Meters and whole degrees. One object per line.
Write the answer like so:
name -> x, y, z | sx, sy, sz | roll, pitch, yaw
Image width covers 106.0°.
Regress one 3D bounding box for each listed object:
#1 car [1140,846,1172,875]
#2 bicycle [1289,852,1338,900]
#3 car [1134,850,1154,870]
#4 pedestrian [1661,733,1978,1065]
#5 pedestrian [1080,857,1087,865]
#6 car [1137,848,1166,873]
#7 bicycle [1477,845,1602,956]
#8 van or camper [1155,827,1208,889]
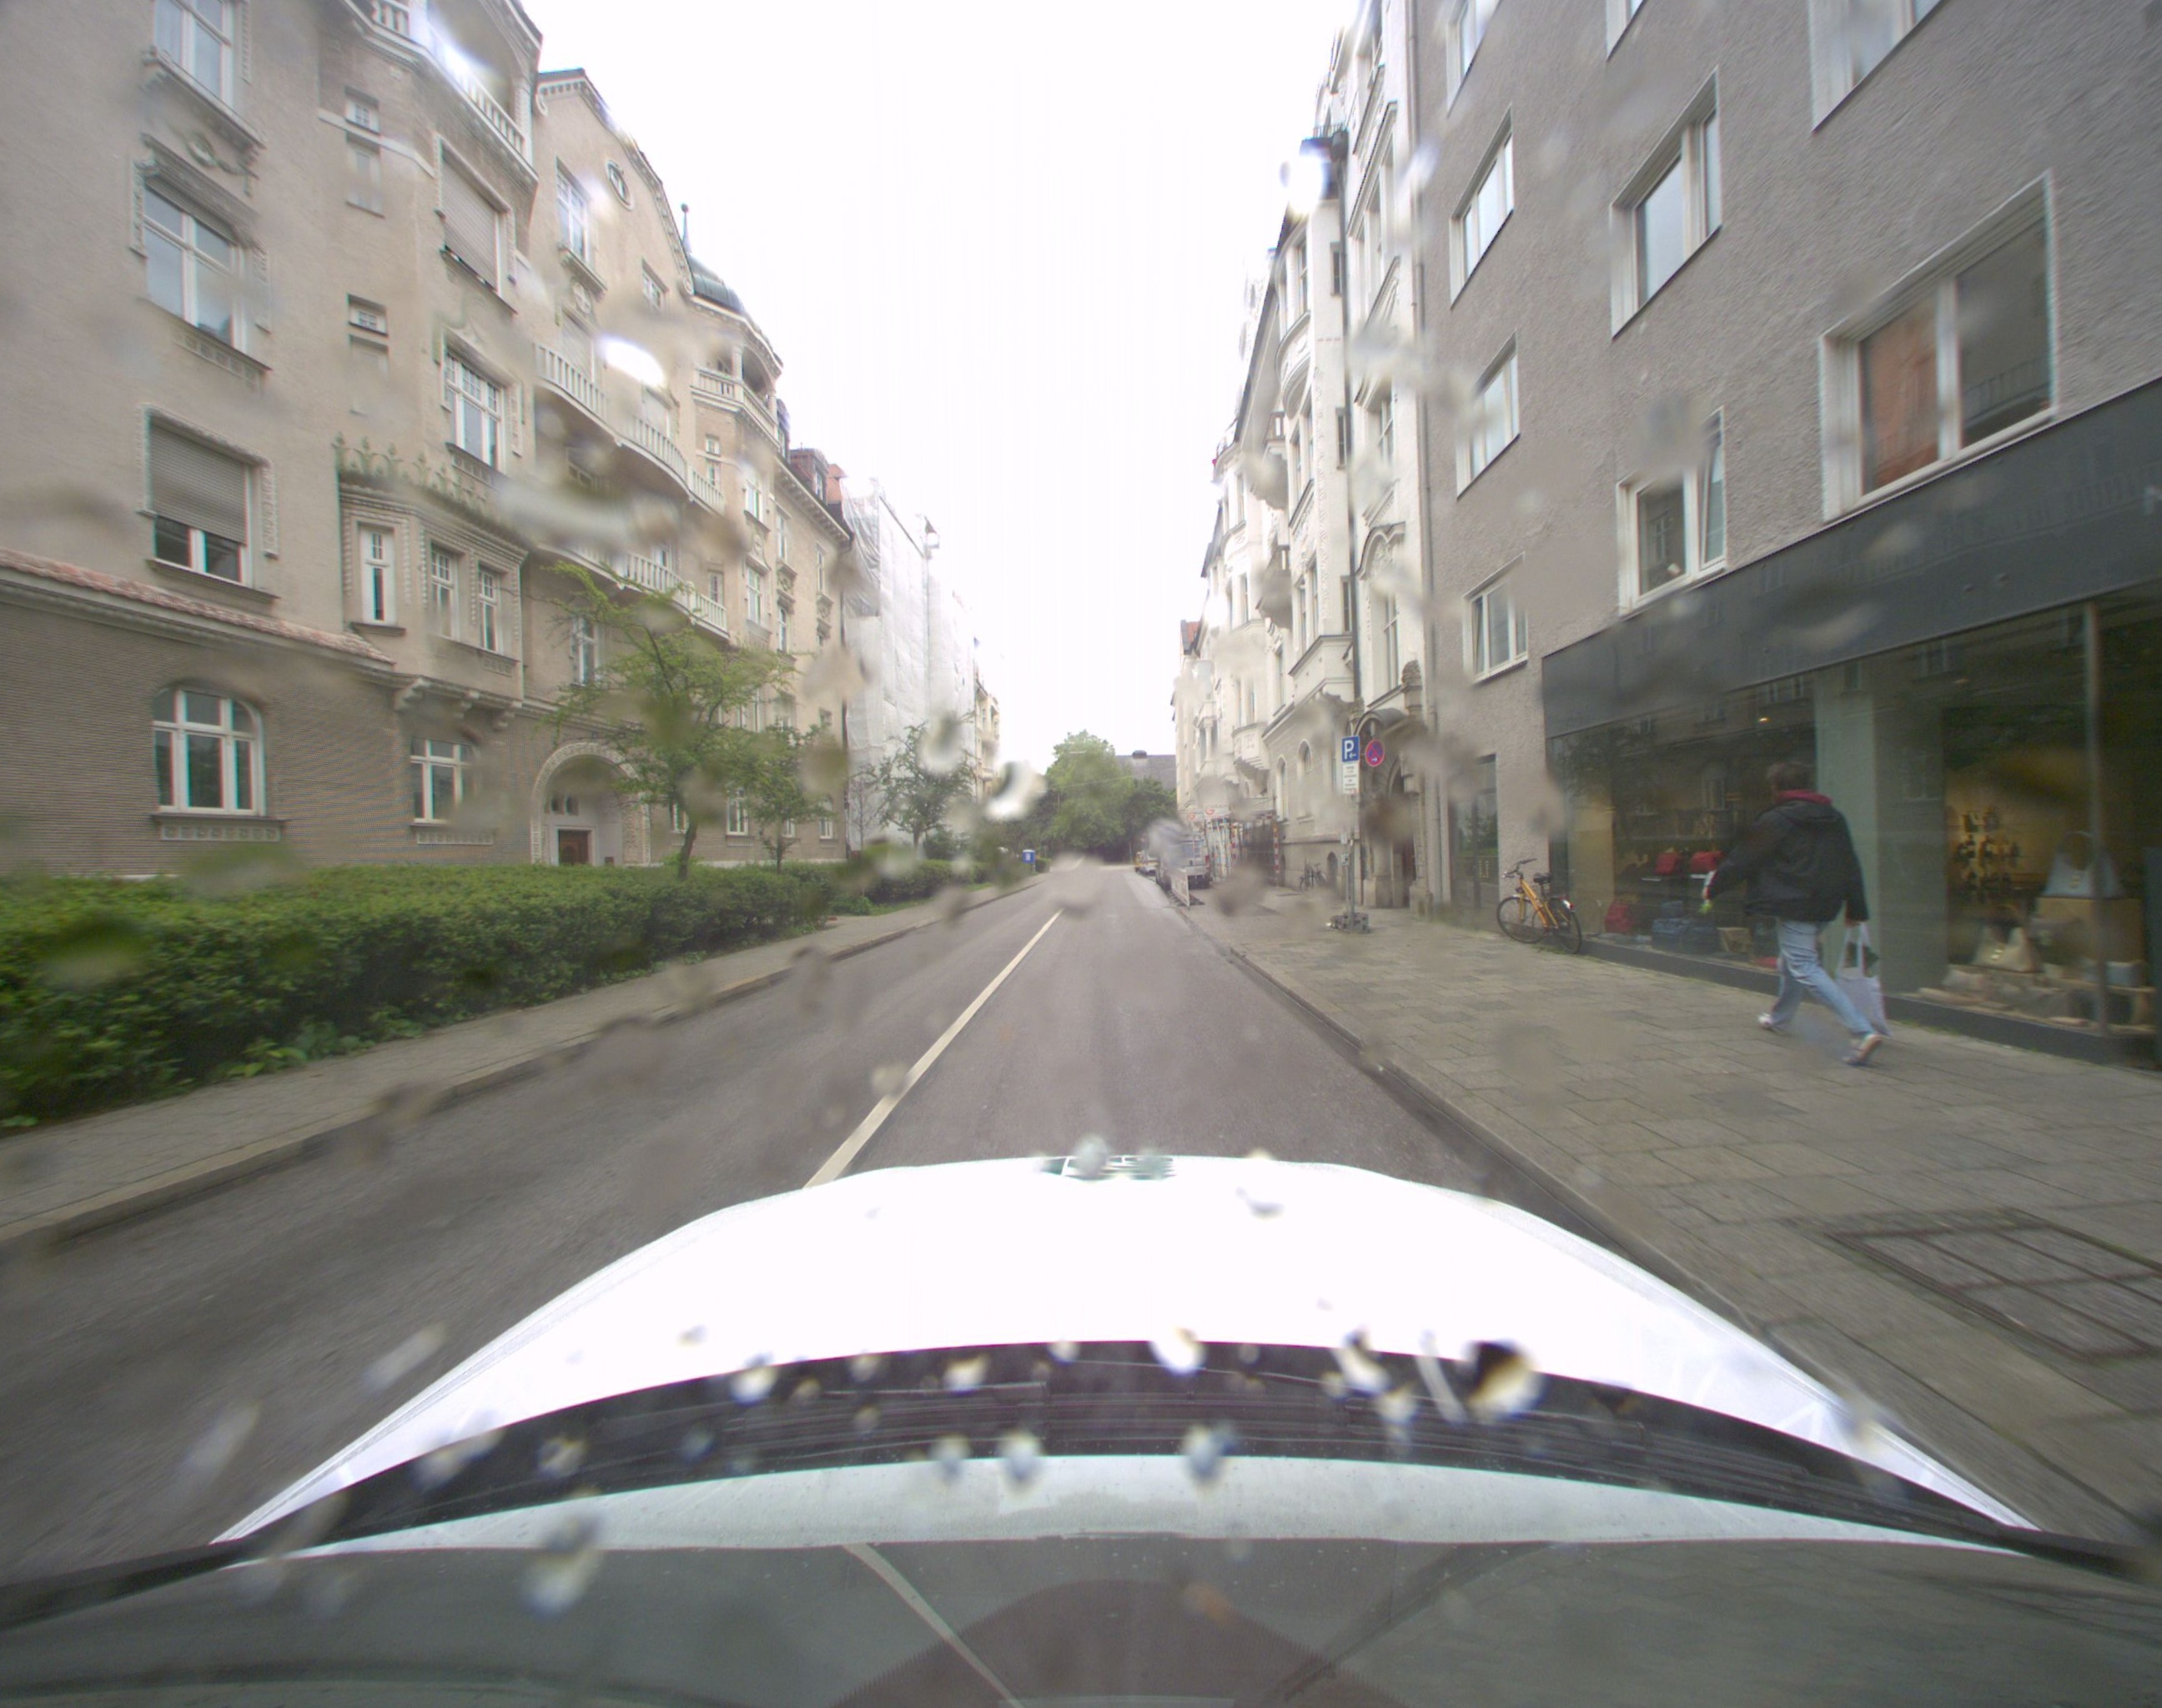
car -> 5.730, 0.482, 62.707 | 1.952, 2.013, 4.993 | -2, 0, 1
bicycle -> 6.381, 0.599, 22.486 | 0.658, 1.206, 1.920 | -6, 0, -1
car -> 6.252, 0.595, 80.012 | 1.841, 1.853, 4.828 | -2, 0, 5
pedestrian -> 4.780, 0.266, 5.401 | 0.924, 1.910, 1.179 | -4, 0, 2
pedestrian -> 0.412, 1.063, 121.521 | 0.807, 1.189, 0.921 | -2, 0, 8
car -> 5.913, 0.527, 68.877 | 1.952, 1.937, 4.993 | -2, 0, 1
bicycle -> 5.812, 0.544, 10.455 | 0.510, 1.260, 1.821 | -6, 0, 2
van or camper -> 4.625, 0.196, 38.106 | 1.946, 2.637, 5.462 | -2, 0, 3
